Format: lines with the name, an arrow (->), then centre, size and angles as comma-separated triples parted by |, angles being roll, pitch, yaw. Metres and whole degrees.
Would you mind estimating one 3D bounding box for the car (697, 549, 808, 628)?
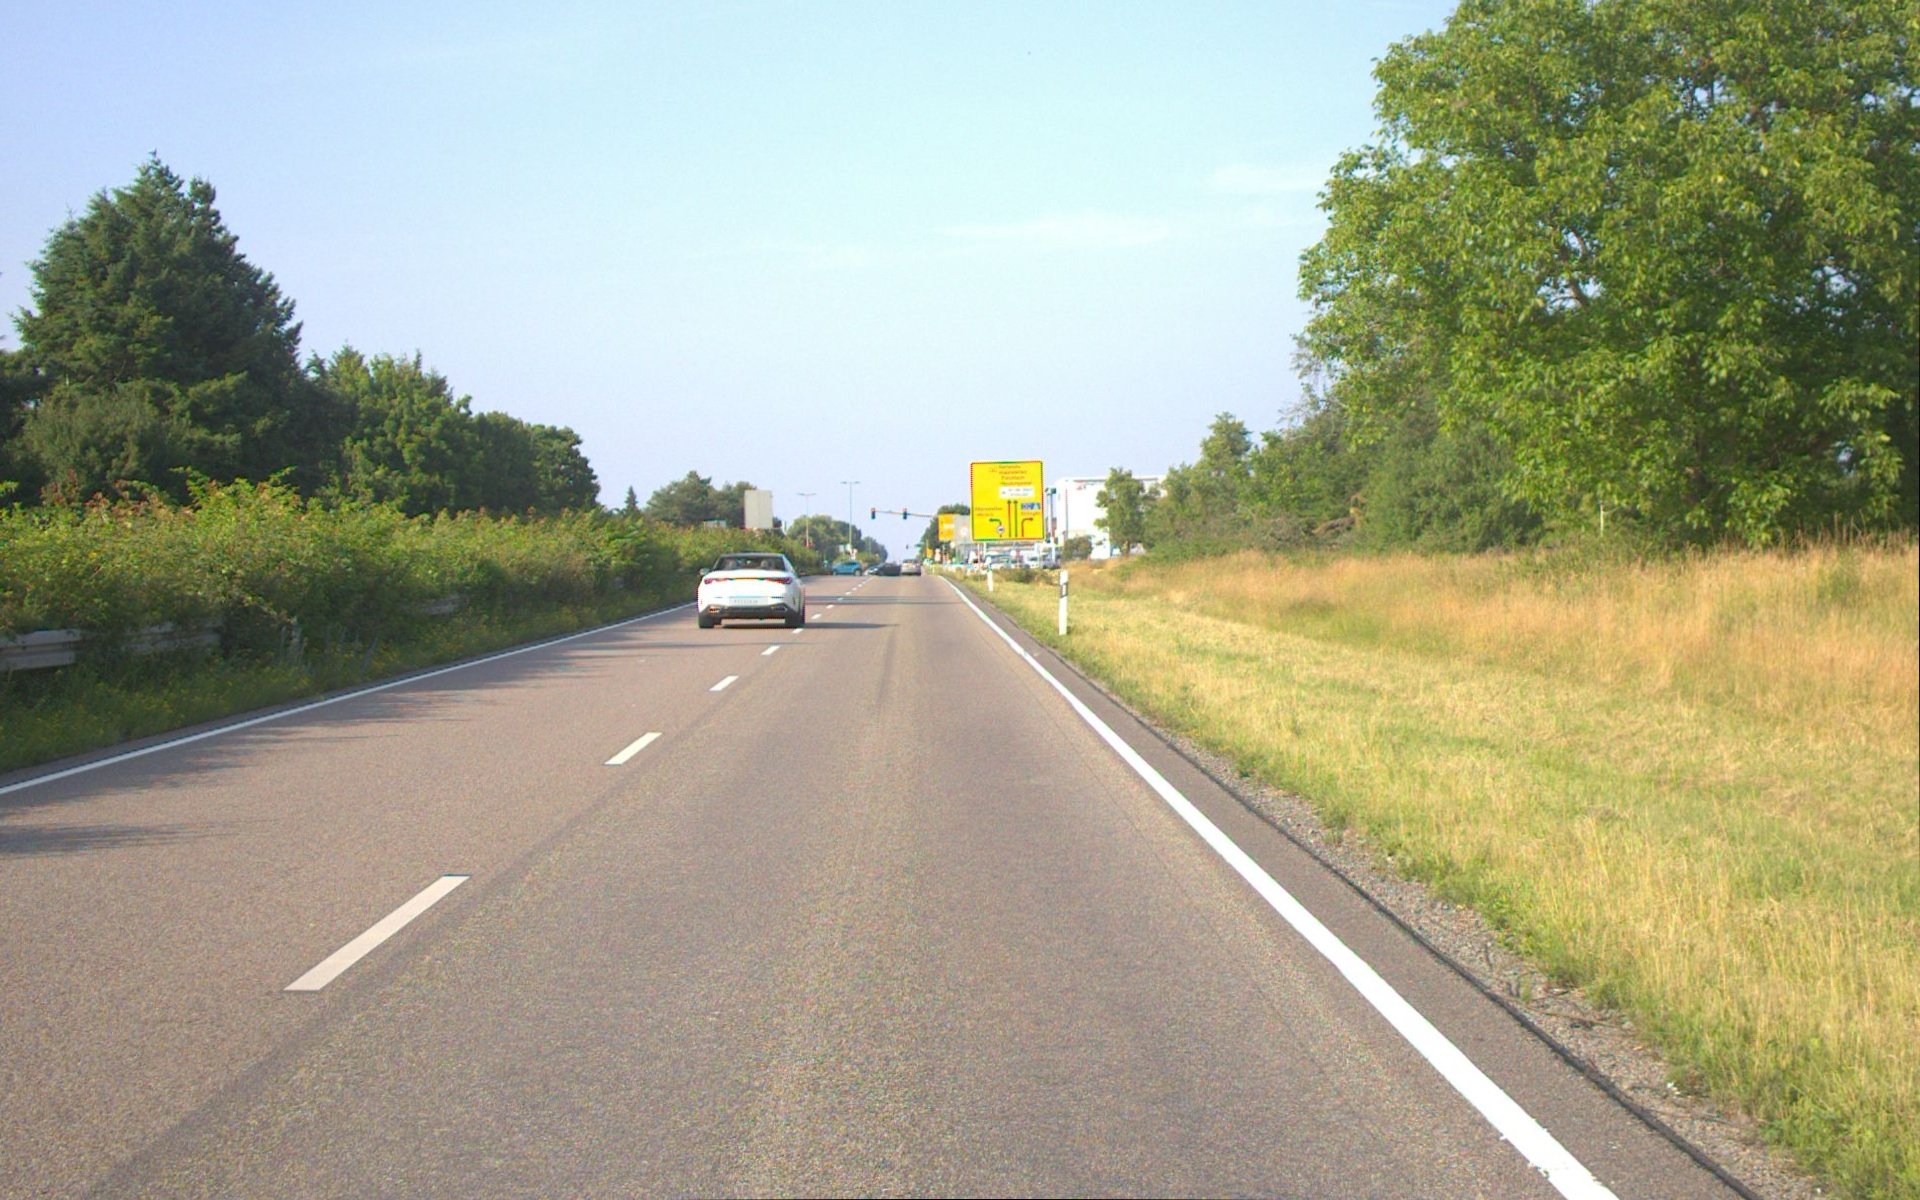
car -> -3.802, -0.230, 63.587 | 1.909, 1.417, 4.000 | 0, 1, -1
